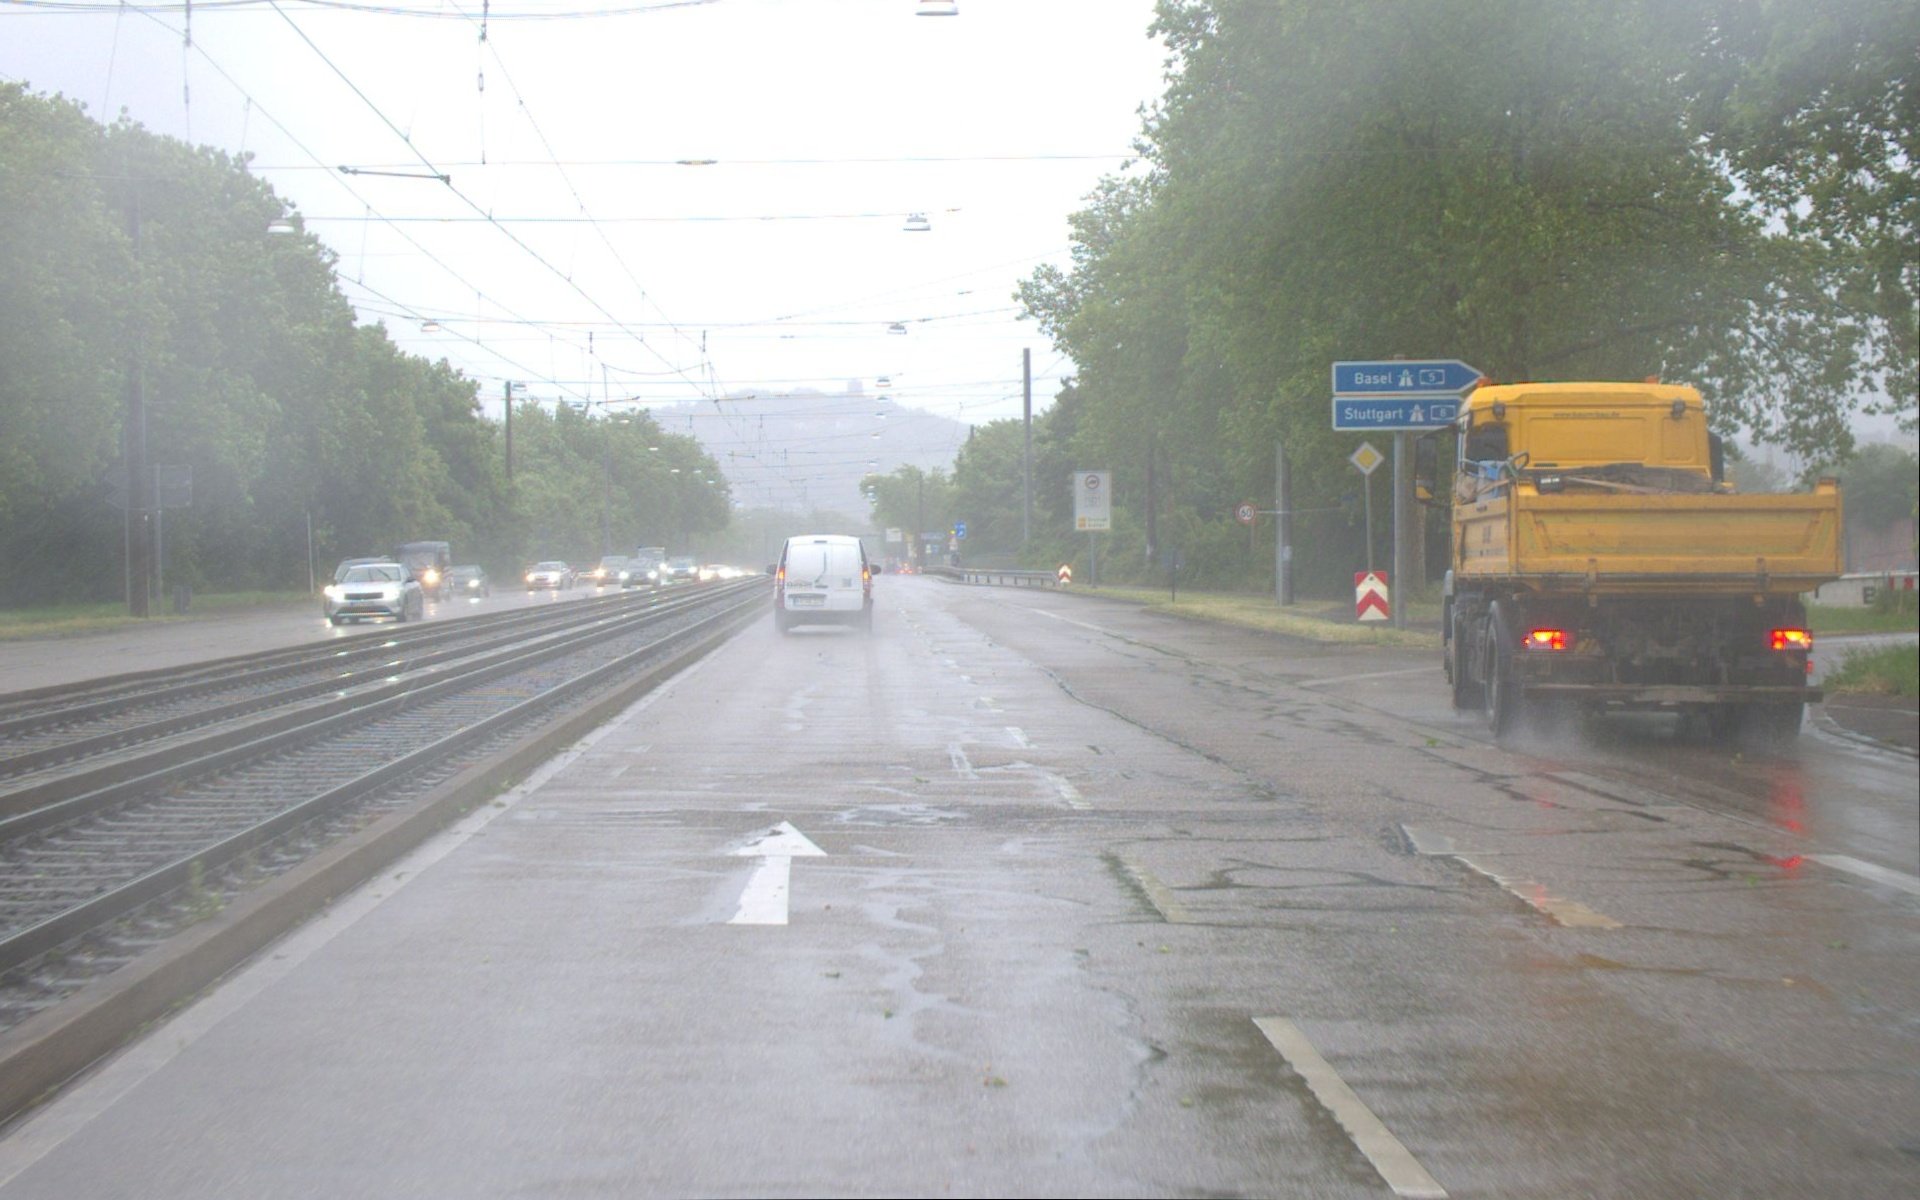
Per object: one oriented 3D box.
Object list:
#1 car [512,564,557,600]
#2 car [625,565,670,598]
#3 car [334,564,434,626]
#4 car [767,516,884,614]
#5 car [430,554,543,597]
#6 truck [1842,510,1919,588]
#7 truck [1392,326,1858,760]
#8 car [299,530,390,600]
[{"bbox_3d":[-21.917,-0.935,177.108,1.819,1.700,5.021,1,2,-2],"label":"car"},{"bbox_3d":[-15.830,-0.945,174.333,1.790,1.544,5.314,1,2,0],"label":"car"},{"bbox_3d":[-13.829,-0.138,82.723,1.741,1.349,4.546,1,2,-1],"label":"car"},{"bbox_3d":[-2.419,-0.671,62.560,1.989,1.678,3.740,1,2,0],"label":"car"},{"bbox_3d":[-20.667,-1.079,150.153,2.087,1.792,4.753,2,2,38],"label":"car"},{"bbox_3d":[57.611,-3.148,190.010,16.748,4.144,3.286,-3,0,29],"label":"truck"},{"bbox_3d":[5.452,-0.542,29.432,2.555,3.246,6.933,1,2,0],"label":"truck"},{"bbox_3d":[-16.913,-0.996,94.653,1.887,1.803,5.006,1,2,-3],"label":"car"}]
